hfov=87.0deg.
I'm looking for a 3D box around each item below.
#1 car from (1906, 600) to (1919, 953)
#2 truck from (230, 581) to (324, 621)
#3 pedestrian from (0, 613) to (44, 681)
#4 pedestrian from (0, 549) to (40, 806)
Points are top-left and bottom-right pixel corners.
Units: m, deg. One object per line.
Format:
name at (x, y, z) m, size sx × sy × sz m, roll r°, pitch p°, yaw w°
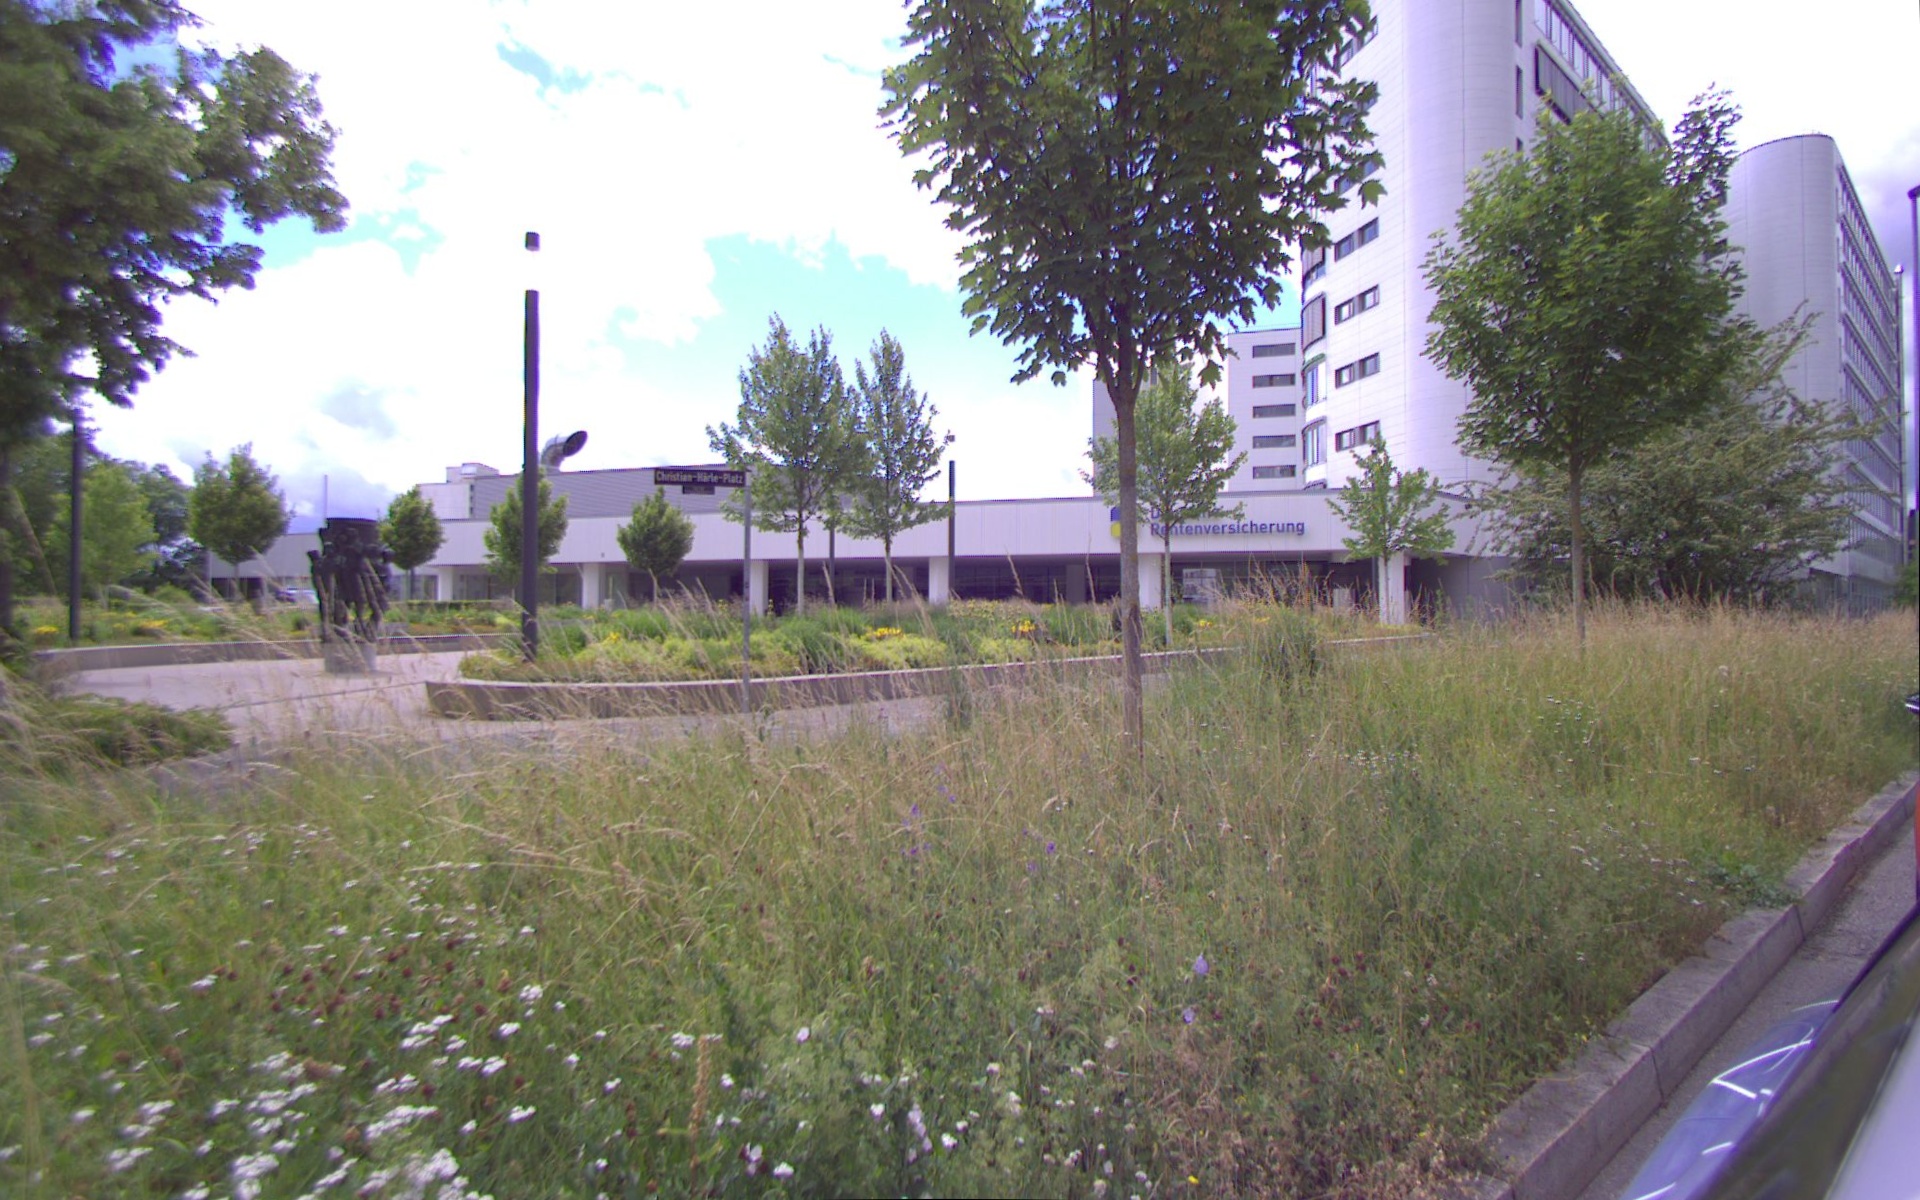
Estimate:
car at (5.811, 0.748, 4.643) m, size 3.611 × 1.434 × 1.748 m, roll 0°, pitch 1°, yaw -41°
truck at (-36.143, 0.059, 53.578) m, size 3.941 × 2.039 × 1.991 m, roll 1°, pitch 0°, yaw 14°
pedestrian at (-17.439, 0.859, 18.750) m, size 0.621 × 1.238 × 0.620 m, roll 0°, pitch 0°, yaw -36°
pedestrian at (-6.558, 0.496, 6.451) m, size 0.763 × 1.646 × 0.759 m, roll 0°, pitch 0°, yaw 21°
